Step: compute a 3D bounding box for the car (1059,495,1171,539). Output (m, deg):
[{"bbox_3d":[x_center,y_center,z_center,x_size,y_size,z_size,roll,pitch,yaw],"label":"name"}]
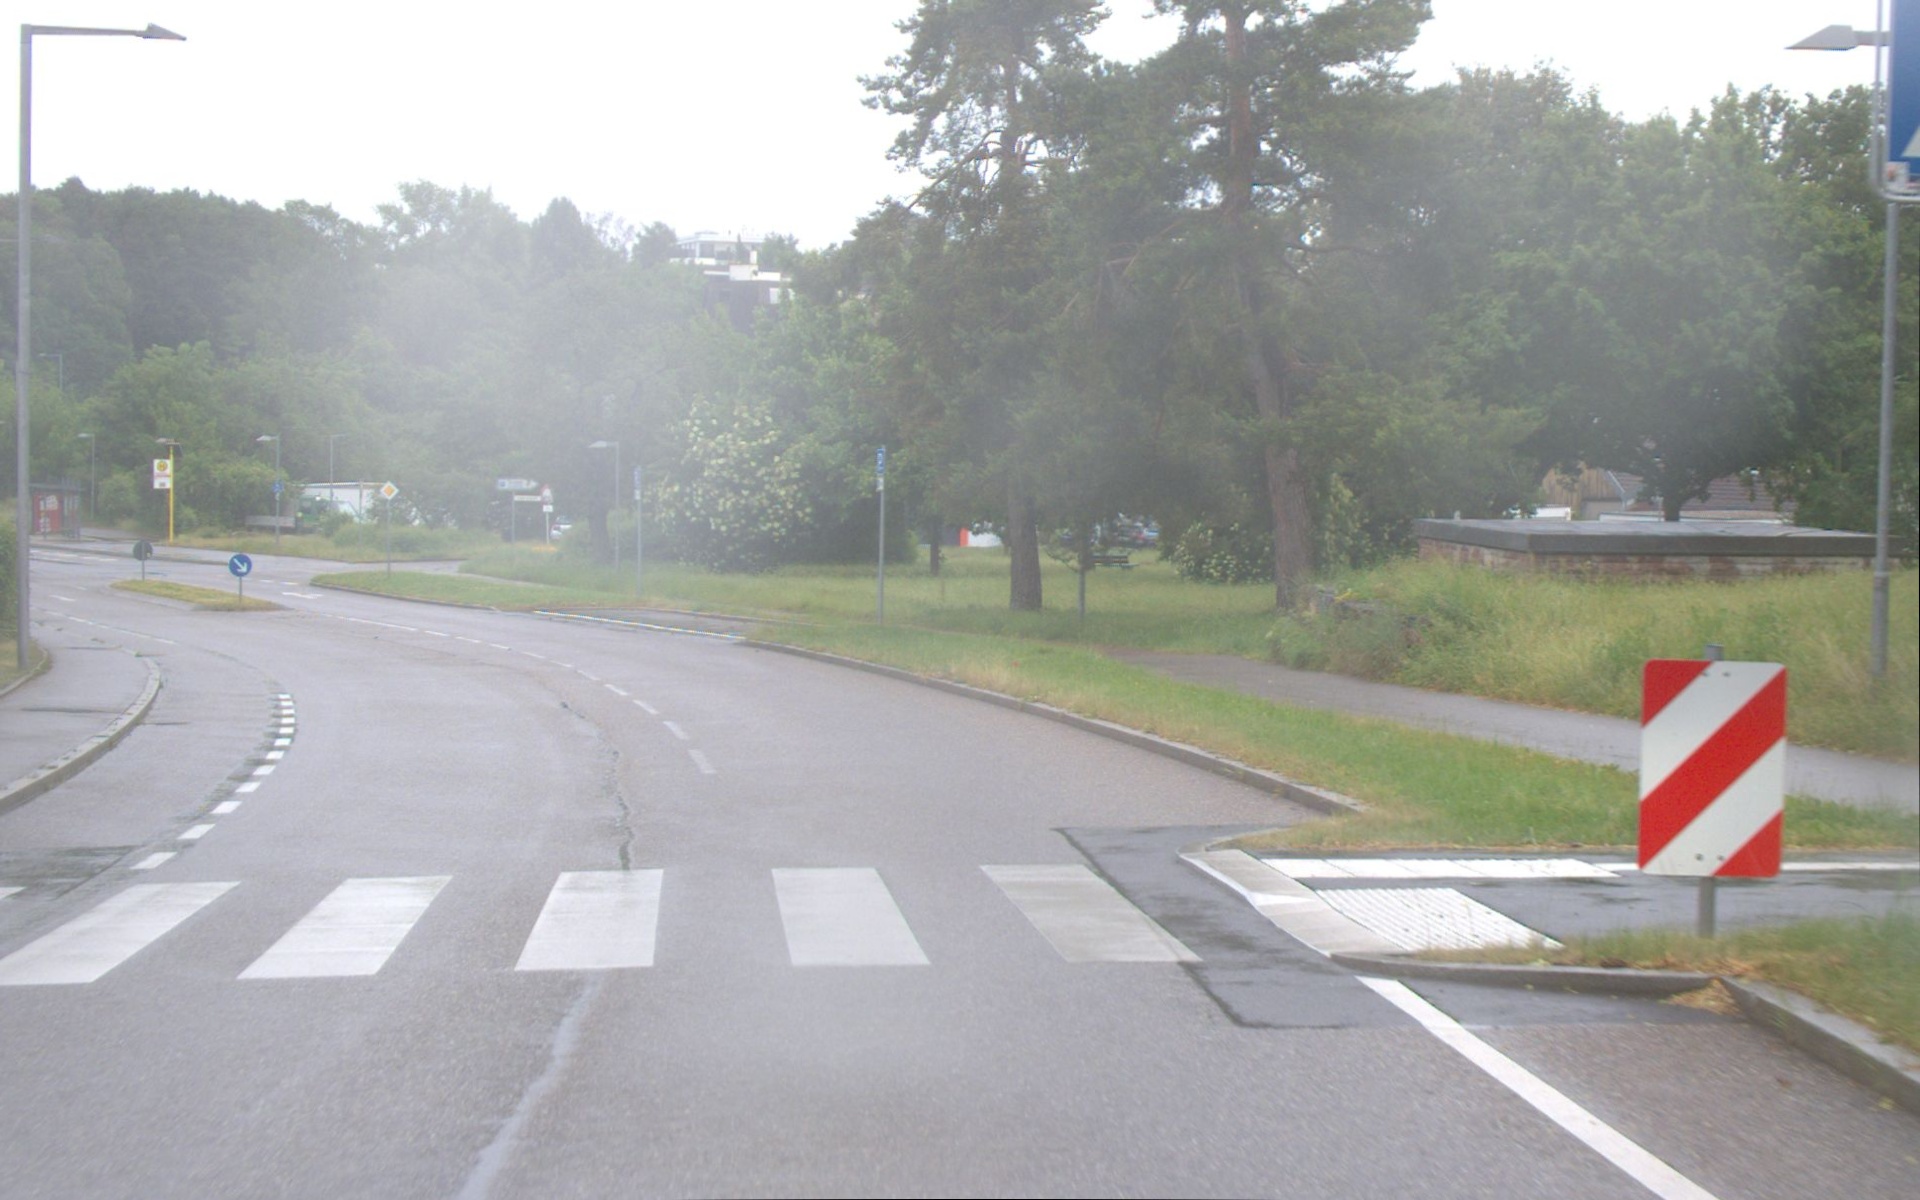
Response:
[{"bbox_3d":[6.855,-3.676,152.402,4.552,1.744,1.909,-2,1,35],"label":"car"}]
